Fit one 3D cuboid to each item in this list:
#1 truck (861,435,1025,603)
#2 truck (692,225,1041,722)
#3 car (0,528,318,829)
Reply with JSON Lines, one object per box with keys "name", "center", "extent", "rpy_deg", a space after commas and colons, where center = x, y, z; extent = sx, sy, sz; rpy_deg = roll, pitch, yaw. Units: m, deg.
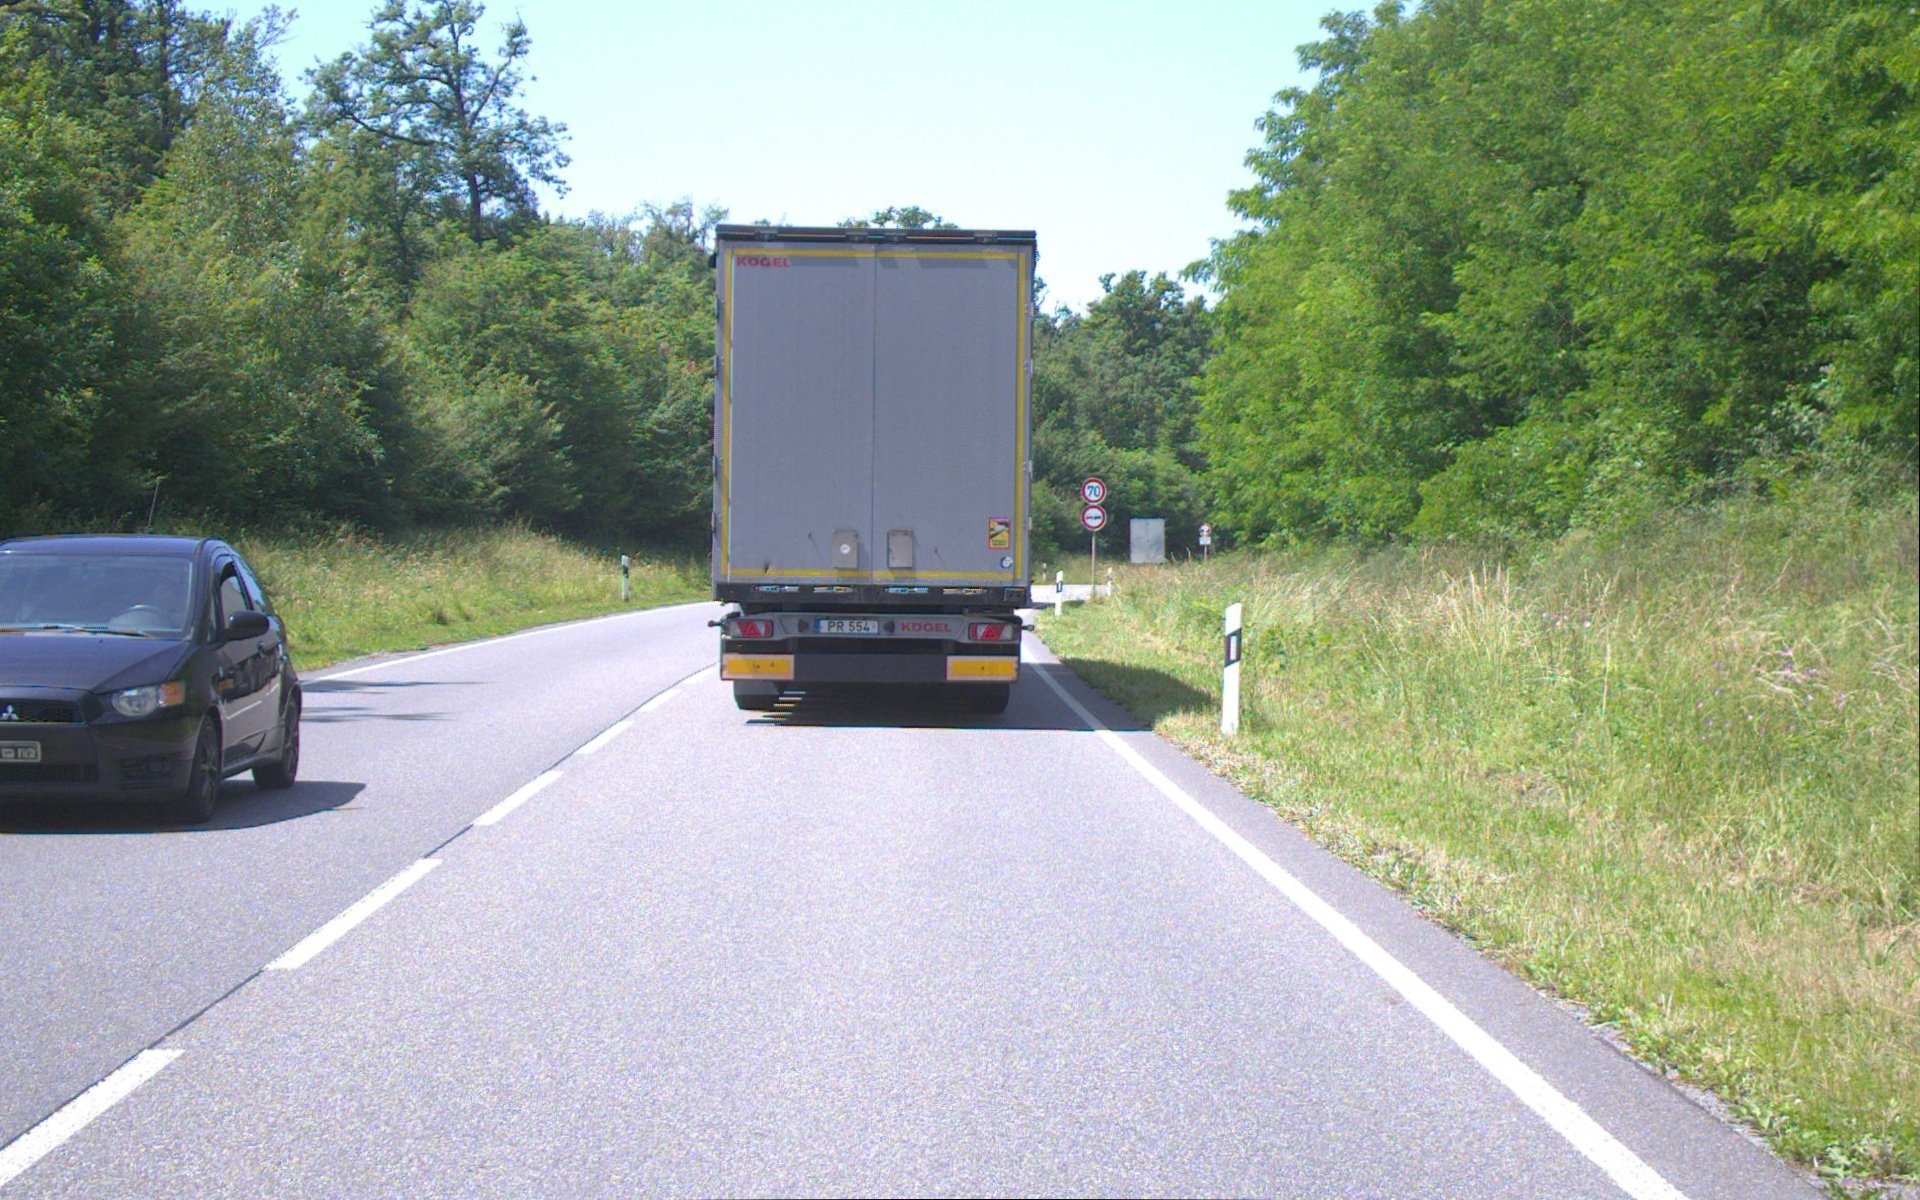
{"name": "truck", "center": [-0.303, -2.257, 97.306], "extent": [3.794, 4.358, 14.919], "rpy_deg": [1, 1, 3]}
{"name": "truck", "center": [-0.859, -1.124, 33.318], "extent": [2.761, 3.933, 12.199], "rpy_deg": [0, 1, -1]}
{"name": "car", "center": [-4.695, 0.353, 19.022], "extent": [1.660, 1.490, 3.806], "rpy_deg": [0, 1, -2]}
